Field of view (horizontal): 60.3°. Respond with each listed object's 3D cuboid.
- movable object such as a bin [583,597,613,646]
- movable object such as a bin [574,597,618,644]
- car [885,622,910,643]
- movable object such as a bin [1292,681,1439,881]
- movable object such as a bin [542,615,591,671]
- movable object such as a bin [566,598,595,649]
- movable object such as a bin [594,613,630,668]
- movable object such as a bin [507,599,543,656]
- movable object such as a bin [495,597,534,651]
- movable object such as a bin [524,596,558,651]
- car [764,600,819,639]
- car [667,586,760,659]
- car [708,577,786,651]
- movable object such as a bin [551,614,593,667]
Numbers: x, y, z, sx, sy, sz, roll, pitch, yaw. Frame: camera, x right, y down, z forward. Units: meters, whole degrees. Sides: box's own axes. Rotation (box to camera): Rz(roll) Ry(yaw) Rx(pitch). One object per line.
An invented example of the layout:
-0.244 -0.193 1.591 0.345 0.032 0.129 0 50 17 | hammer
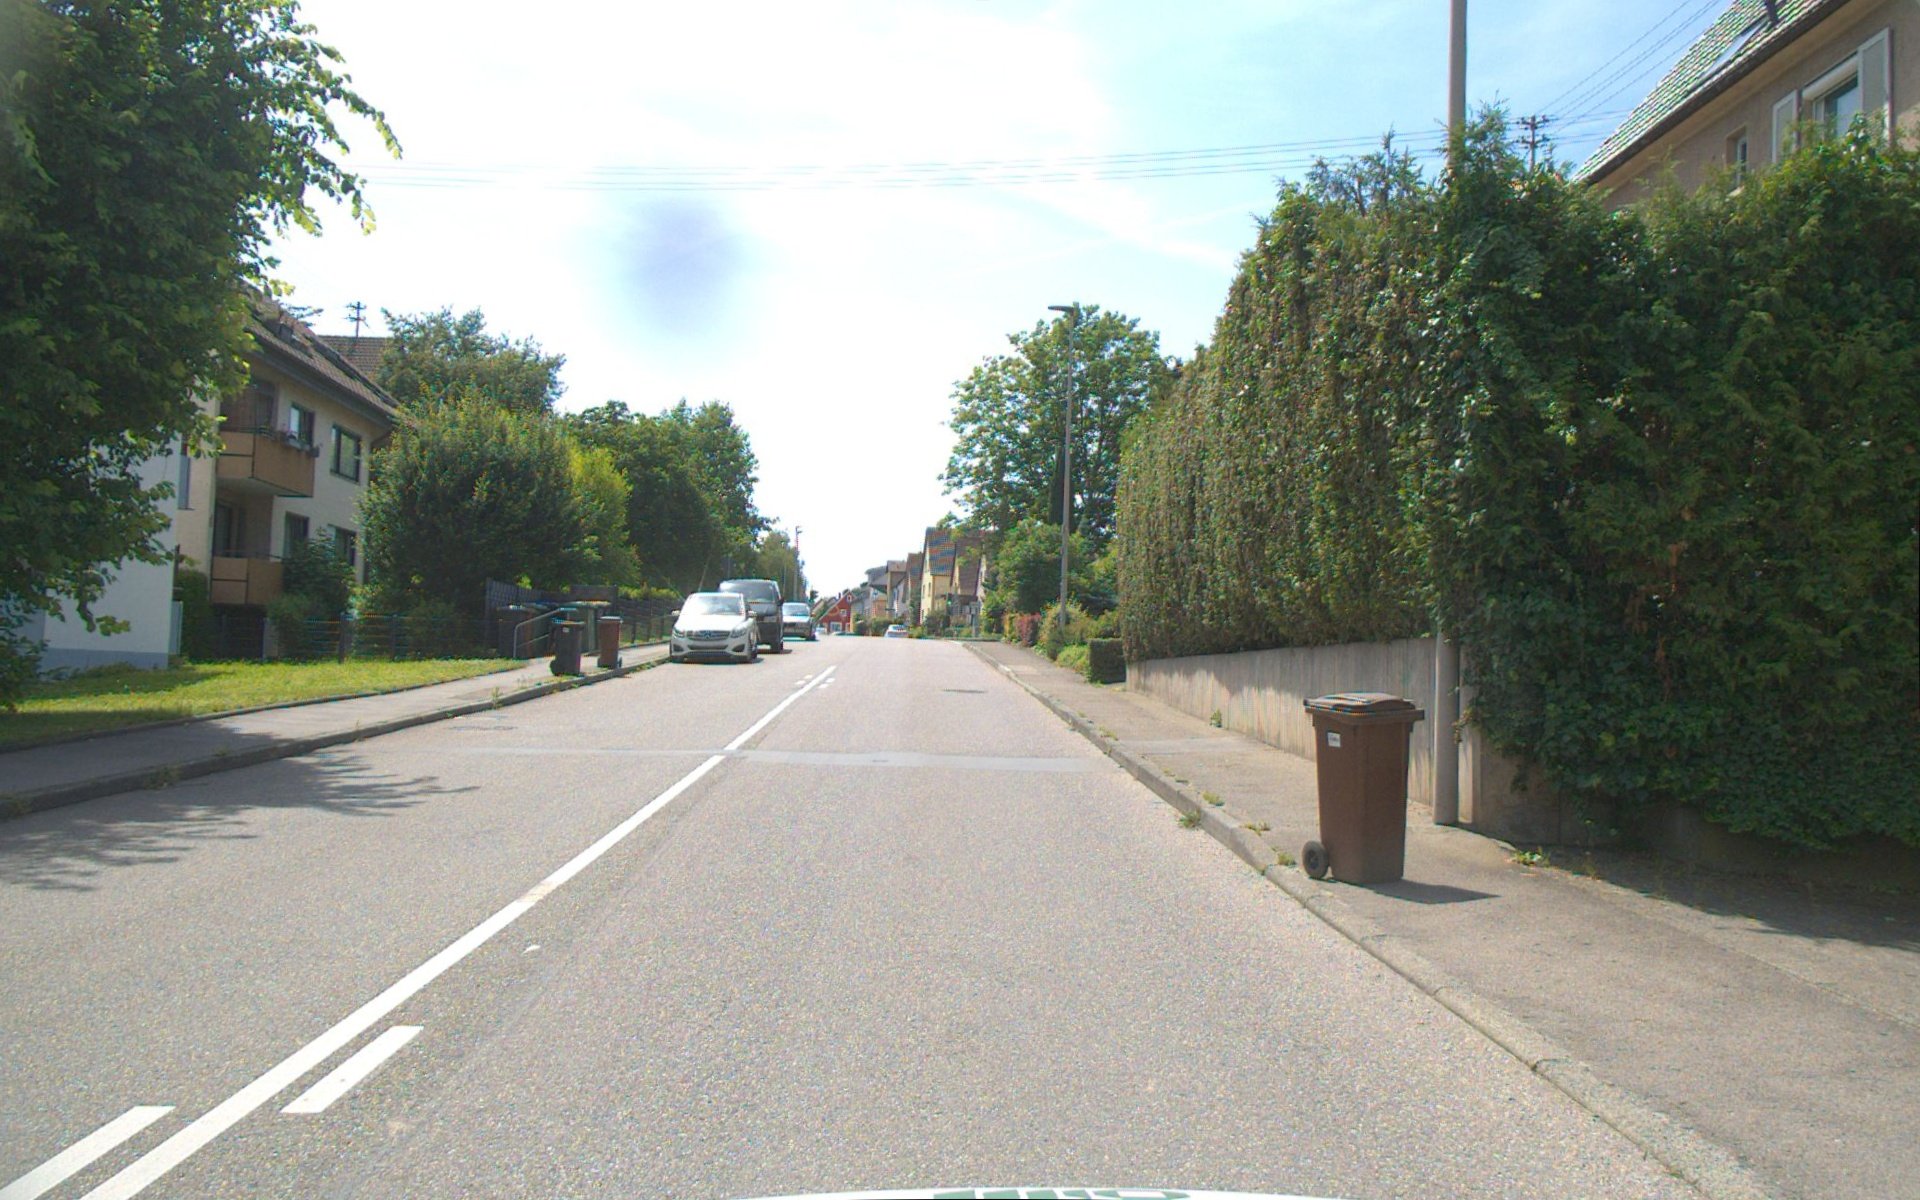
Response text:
-8.287 0.493 37.838 0.486 1.124 0.710 0 -1 5 | movable object such as a bin
-8.636 0.489 39.248 0.881 1.088 0.695 1 0 -2 | movable object such as a bin
-5.056 2.587 133.290 1.954 1.632 3.997 1 0 -3 | car
2.181 0.956 8.971 0.576 0.995 0.786 0 0 -2 | movable object such as a bin
-6.732 0.726 28.325 0.606 0.934 0.686 1 0 5 | movable object such as a bin
-8.356 0.513 36.451 0.506 1.124 0.529 1 0 -3 | movable object such as a bin
-6.521 0.749 31.010 0.495 1.005 0.563 1 -1 5 | movable object such as a bin
-9.433 0.595 35.866 0.535 1.198 0.674 1 0 3 | movable object such as a bin
-9.456 0.511 35.136 0.590 1.115 0.650 1 0 5 | movable object such as a bin
-9.293 0.525 36.711 0.466 1.198 0.840 1 0 3 | movable object such as a bin
-6.384 0.747 62.866 1.744 1.419 4.407 1 -1 -2 | car
-5.732 0.497 38.834 1.775 1.576 4.239 2 0 -4 | car
-5.886 0.364 46.131 1.859 1.954 4.866 0 0 -4 | car
-6.916 0.719 29.492 0.551 0.934 0.643 1 0 5 | movable object such as a bin
